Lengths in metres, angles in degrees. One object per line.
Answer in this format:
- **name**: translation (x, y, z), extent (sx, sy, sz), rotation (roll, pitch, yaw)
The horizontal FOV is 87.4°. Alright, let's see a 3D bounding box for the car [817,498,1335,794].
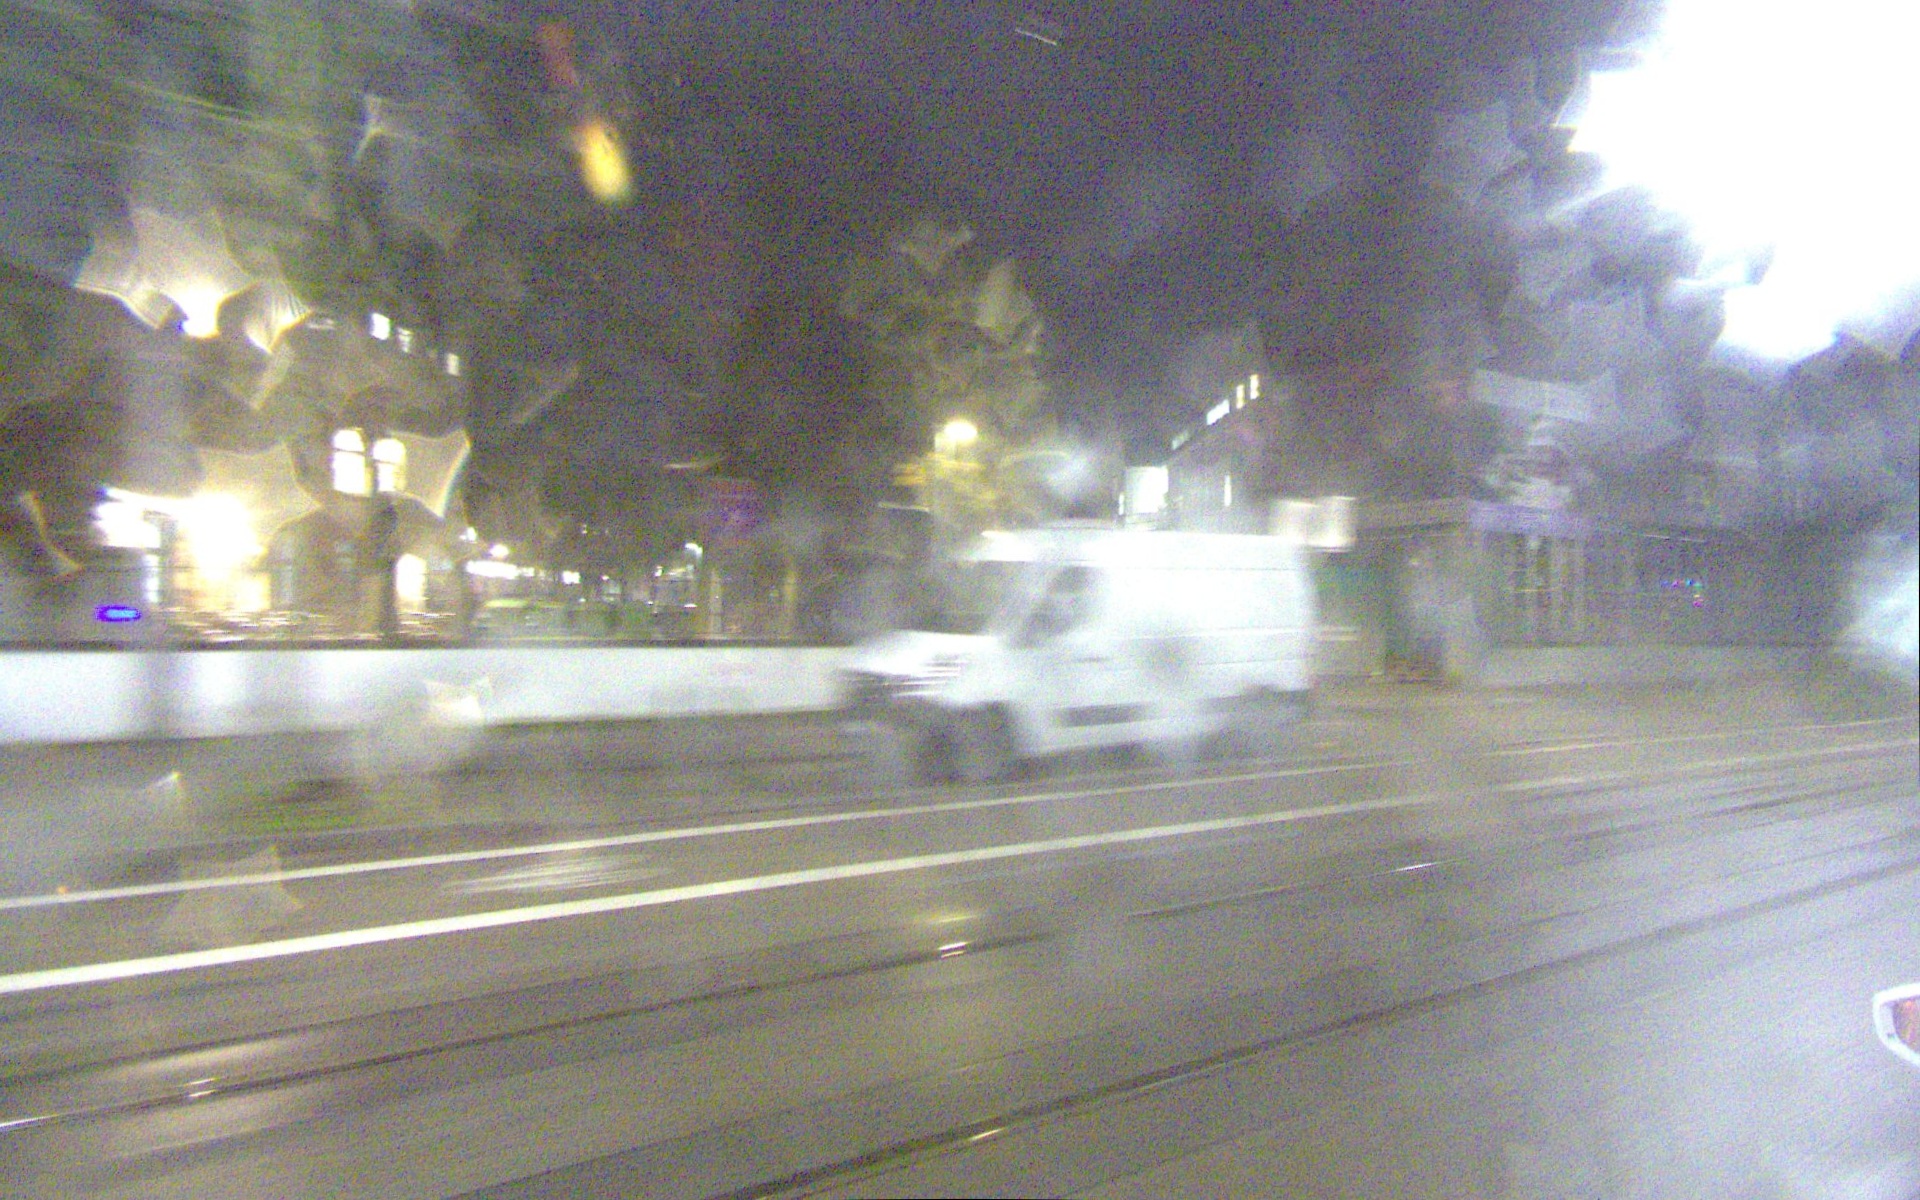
- **car**: translation (1.417, 0.392, 10.943), extent (5.546, 2.533, 2.013), rotation (1, 2, -33)
